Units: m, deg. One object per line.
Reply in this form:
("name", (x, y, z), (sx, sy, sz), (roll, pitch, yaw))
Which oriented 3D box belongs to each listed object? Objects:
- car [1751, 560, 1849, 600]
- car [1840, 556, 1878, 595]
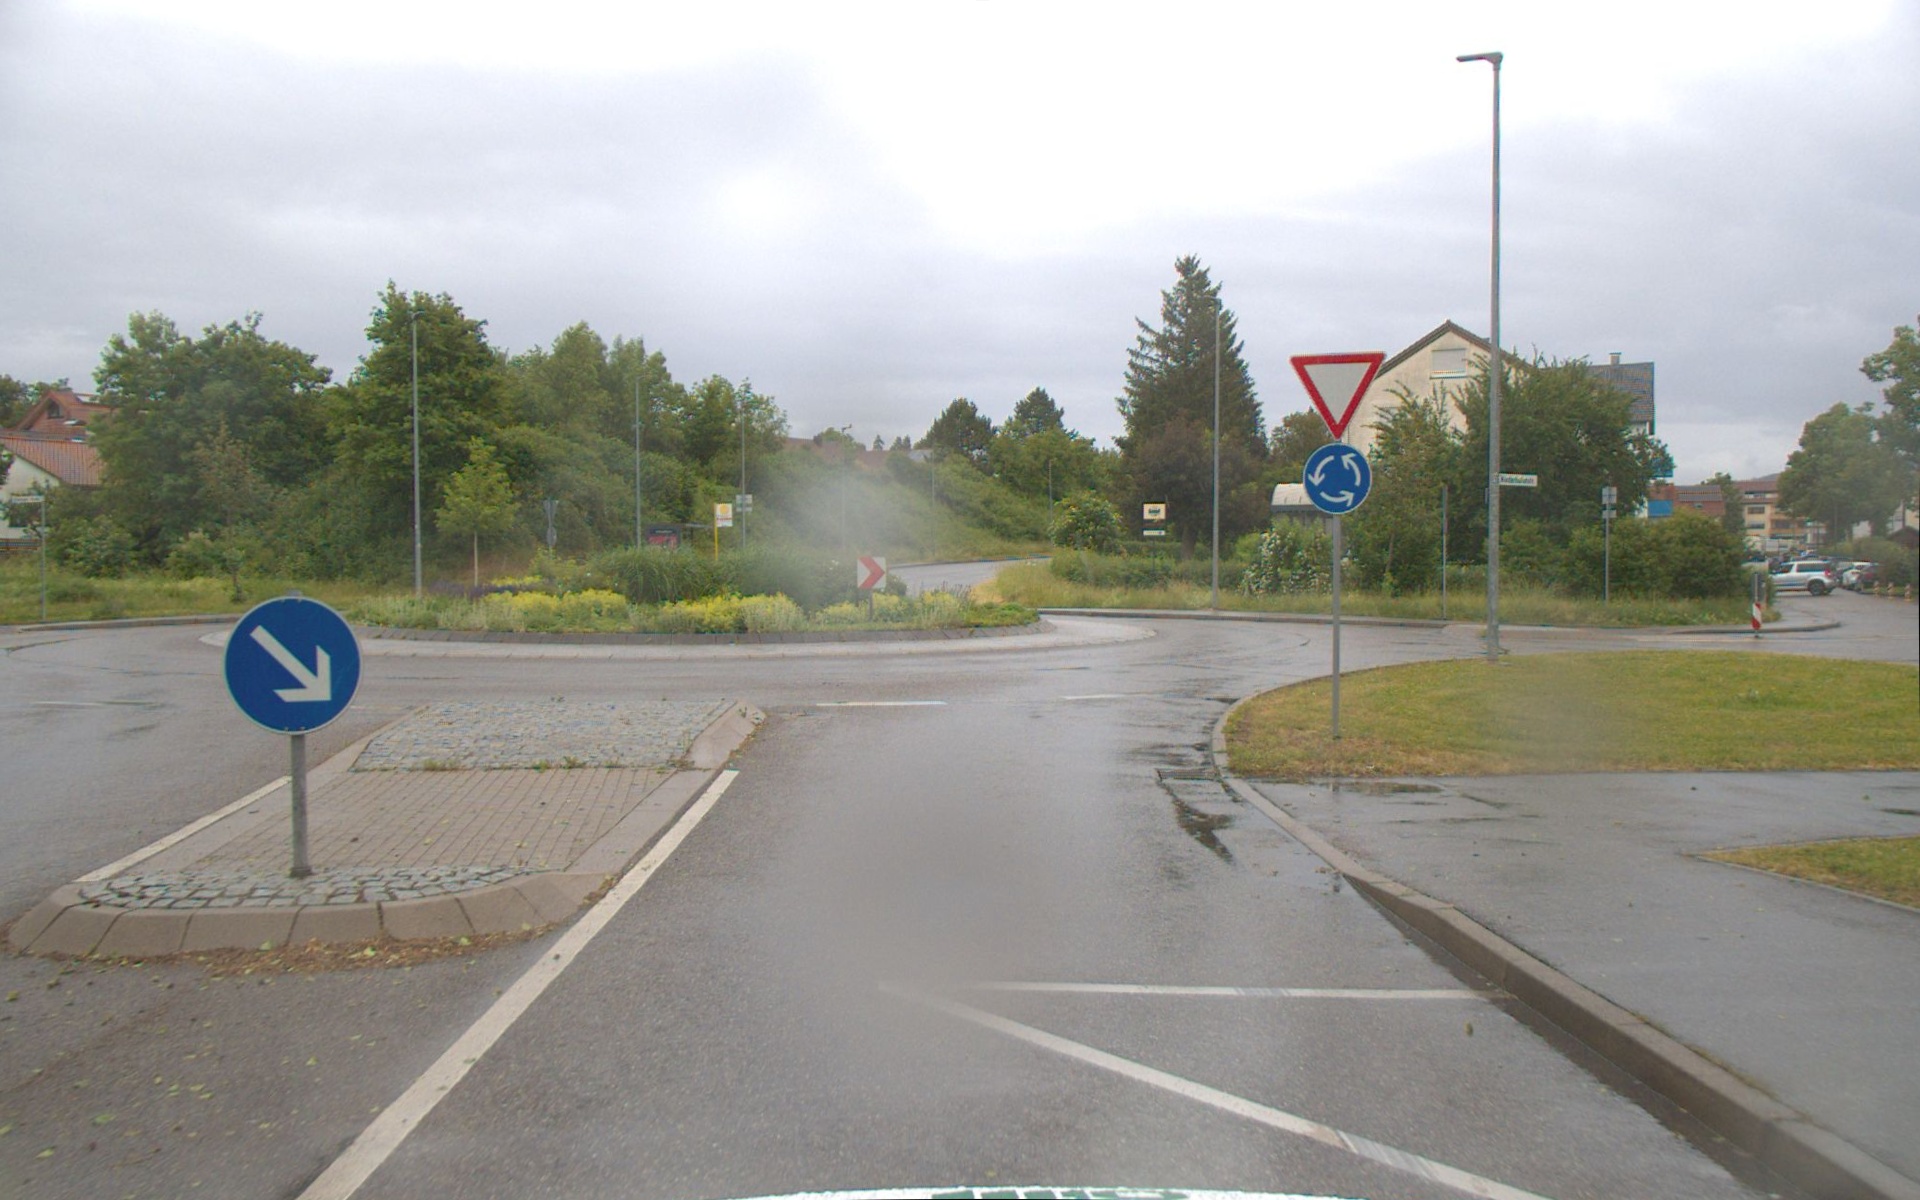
("car", (40.588, -0.964, 79.944), (3.924, 1.859, 1.888), (0, 1, 39))
("car", (48.319, -1.306, 88.830), (1.555, 2.049, 3.990), (0, 1, 32))
